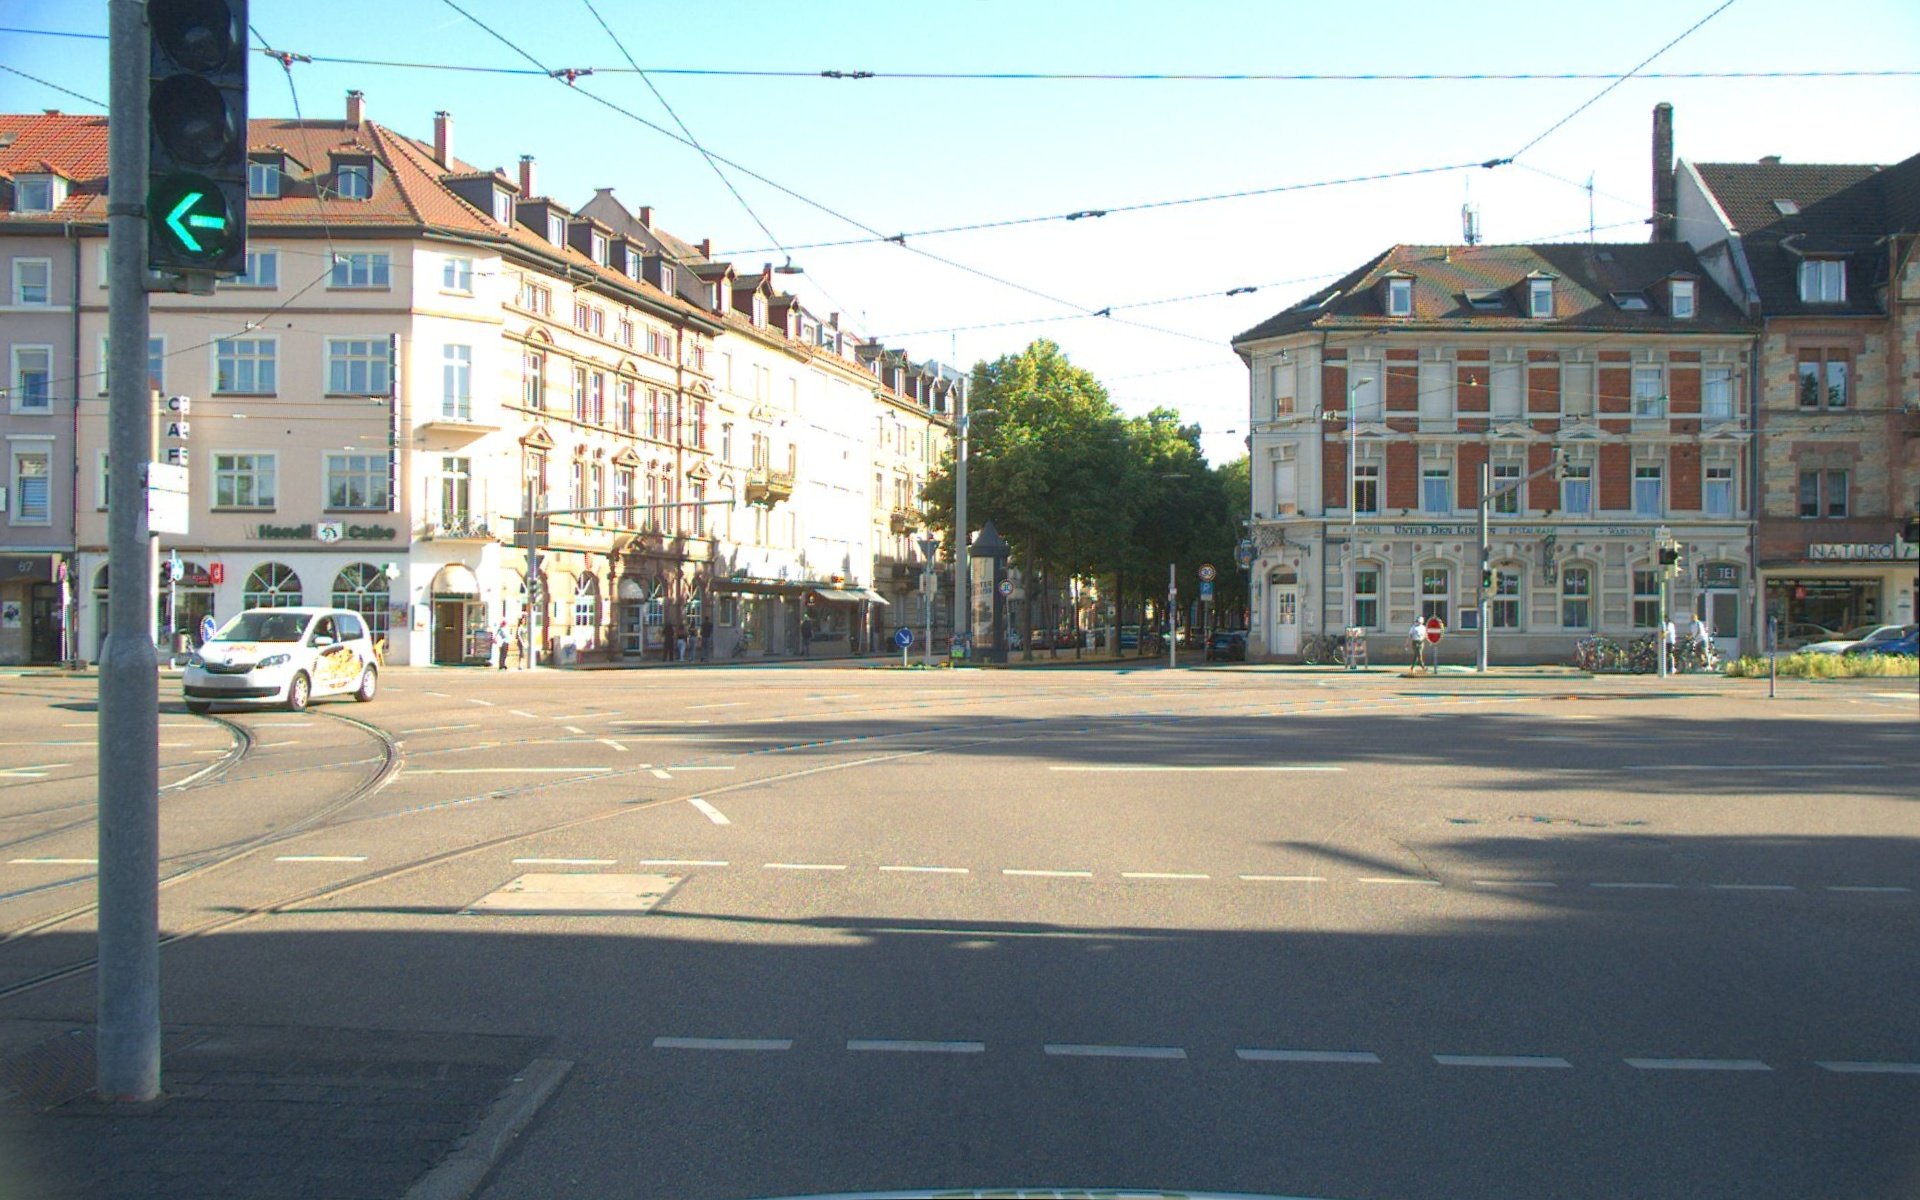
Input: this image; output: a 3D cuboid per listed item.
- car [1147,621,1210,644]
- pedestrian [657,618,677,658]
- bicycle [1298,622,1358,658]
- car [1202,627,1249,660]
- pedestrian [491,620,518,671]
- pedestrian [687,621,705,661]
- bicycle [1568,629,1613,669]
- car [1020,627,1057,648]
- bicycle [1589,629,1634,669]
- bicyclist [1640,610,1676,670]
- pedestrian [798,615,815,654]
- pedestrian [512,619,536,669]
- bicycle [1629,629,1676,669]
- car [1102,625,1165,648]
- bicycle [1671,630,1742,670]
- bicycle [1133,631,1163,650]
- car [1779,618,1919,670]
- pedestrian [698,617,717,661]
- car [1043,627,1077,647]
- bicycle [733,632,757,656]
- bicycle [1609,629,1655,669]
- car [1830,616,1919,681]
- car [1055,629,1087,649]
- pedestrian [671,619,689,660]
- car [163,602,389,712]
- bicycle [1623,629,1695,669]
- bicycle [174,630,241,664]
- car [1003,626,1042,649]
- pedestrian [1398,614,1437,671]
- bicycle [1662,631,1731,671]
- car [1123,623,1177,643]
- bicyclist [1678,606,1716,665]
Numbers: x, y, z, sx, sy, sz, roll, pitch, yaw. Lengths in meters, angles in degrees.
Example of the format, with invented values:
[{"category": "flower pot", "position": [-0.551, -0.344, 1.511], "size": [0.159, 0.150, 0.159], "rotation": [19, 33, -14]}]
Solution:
[{"category": "car", "position": [15.250, 2.294, 115.533], "size": [3.913, 1.572, 1.996], "rotation": [-1, -1, 30]}, {"category": "pedestrian", "position": [-12.215, 1.577, 68.965], "size": [0.614, 1.670, 0.538], "rotation": [0, -1, 18]}, {"category": "bicycle", "position": [12.458, 1.360, 55.992], "size": [1.919, 1.211, 0.546], "rotation": [0, -1, 4]}, {"category": "car", "position": [13.061, 2.110, 81.226], "size": [1.951, 1.523, 4.037], "rotation": [0, -1, 13]}, {"category": "pedestrian", "position": [-14.902, 1.493, 54.165], "size": [0.661, 1.670, 0.579], "rotation": [0, -1, 13]}, {"category": "pedestrian", "position": [-11.000, 1.716, 68.961], "size": [0.539, 1.670, 0.633], "rotation": [0, -1, 18]}, {"category": "bicycle", "position": [19.834, 1.525, 52.090], "size": [0.663, 1.211, 1.967], "rotation": [0, -1, 0]}, {"category": "car", "position": [5.764, 2.735, 121.283], "size": [1.951, 1.523, 4.037], "rotation": [0, -1, 13]}, {"category": "bicycle", "position": [20.523, 1.521, 52.127], "size": [0.663, 1.211, 1.967], "rotation": [0, -1, 0]}, {"category": "bicyclist", "position": [21.047, 1.207, 49.885], "size": [0.854, 1.795, 0.602], "rotation": [0, -1, 2]}, {"category": "pedestrian", "position": [-7.728, 1.732, 83.169], "size": [0.667, 1.942, 0.633], "rotation": [0, -1, 15]}, {"category": "pedestrian", "position": [-14.637, 1.474, 55.520], "size": [0.617, 1.670, 0.553], "rotation": [0, -1, 13]}, {"category": "bicycle", "position": [21.824, 1.529, 52.140], "size": [0.663, 1.211, 1.967], "rotation": [0, -1, 0]}, {"category": "car", "position": [12.004, 2.513, 114.453], "size": [3.910, 1.572, 1.997], "rotation": [-1, -1, 28]}, {"category": "bicycle", "position": [22.881, 1.533, 50.708], "size": [1.921, 1.211, 0.601], "rotation": [0, -1, -1]}, {"category": "bicycle", "position": [11.144, 2.412, 98.026], "size": [0.577, 1.086, 1.924], "rotation": [0, -1, -37]}, {"category": "car", "position": [25.971, 1.242, 47.592], "size": [3.906, 1.437, 1.845], "rotation": [0, -1, -2]}, {"category": "pedestrian", "position": [-10.642, 1.642, 69.711], "size": [0.567, 1.868, 0.633], "rotation": [0, -1, 15]}, {"category": "car", "position": [7.916, 2.895, 130.533], "size": [1.951, 1.523, 4.037], "rotation": [0, -1, 13]}, {"category": "bicycle", "position": [-10.142, 2.069, 77.999], "size": [0.484, 1.086, 1.771], "rotation": [0, -1, 15]}, {"category": "bicycle", "position": [21.162, 1.534, 52.137], "size": [0.663, 1.211, 1.967], "rotation": [0, -1, 0]}, {"category": "car", "position": [25.921, 1.296, 44.595], "size": [3.906, 1.697, 1.954], "rotation": [0, -1, -2]}, {"category": "car", "position": [9.076, 3.193, 135.261], "size": [1.951, 1.523, 4.037], "rotation": [0, -1, 13]}, {"category": "pedestrian", "position": [-11.656, 1.640, 68.789], "size": [0.539, 1.670, 0.538], "rotation": [0, -1, 17]}, {"category": "car", "position": [-10.078, 0.806, 24.657], "size": [1.682, 1.523, 3.585], "rotation": [0, -1, 4]}, {"category": "bicycle", "position": [21.065, 1.474, 49.879], "size": [1.920, 1.211, 0.602], "rotation": [0, -1, 2]}, {"category": "bicycle", "position": [-24.895, 1.546, 54.756], "size": [1.906, 1.086, 0.582], "rotation": [0, -1, -8]}, {"category": "car", "position": [4.421, 2.627, 116.027], "size": [1.951, 1.523, 4.037], "rotation": [0, -1, 13]}, {"category": "pedestrian", "position": [13.940, 1.284, 50.425], "size": [0.708, 1.699, 0.929], "rotation": [0, -1, -31]}, {"category": "bicycle", "position": [23.046, 1.592, 51.760], "size": [1.926, 1.211, 0.677], "rotation": [0, -1, -13]}, {"category": "car", "position": [15.306, 2.629, 133.345], "size": [3.910, 1.572, 1.997], "rotation": [-1, -1, 28]}, {"category": "bicyclist", "position": [22.591, 1.087, 50.703], "size": [0.885, 1.795, 0.601], "rotation": [0, -1, -1]}]
